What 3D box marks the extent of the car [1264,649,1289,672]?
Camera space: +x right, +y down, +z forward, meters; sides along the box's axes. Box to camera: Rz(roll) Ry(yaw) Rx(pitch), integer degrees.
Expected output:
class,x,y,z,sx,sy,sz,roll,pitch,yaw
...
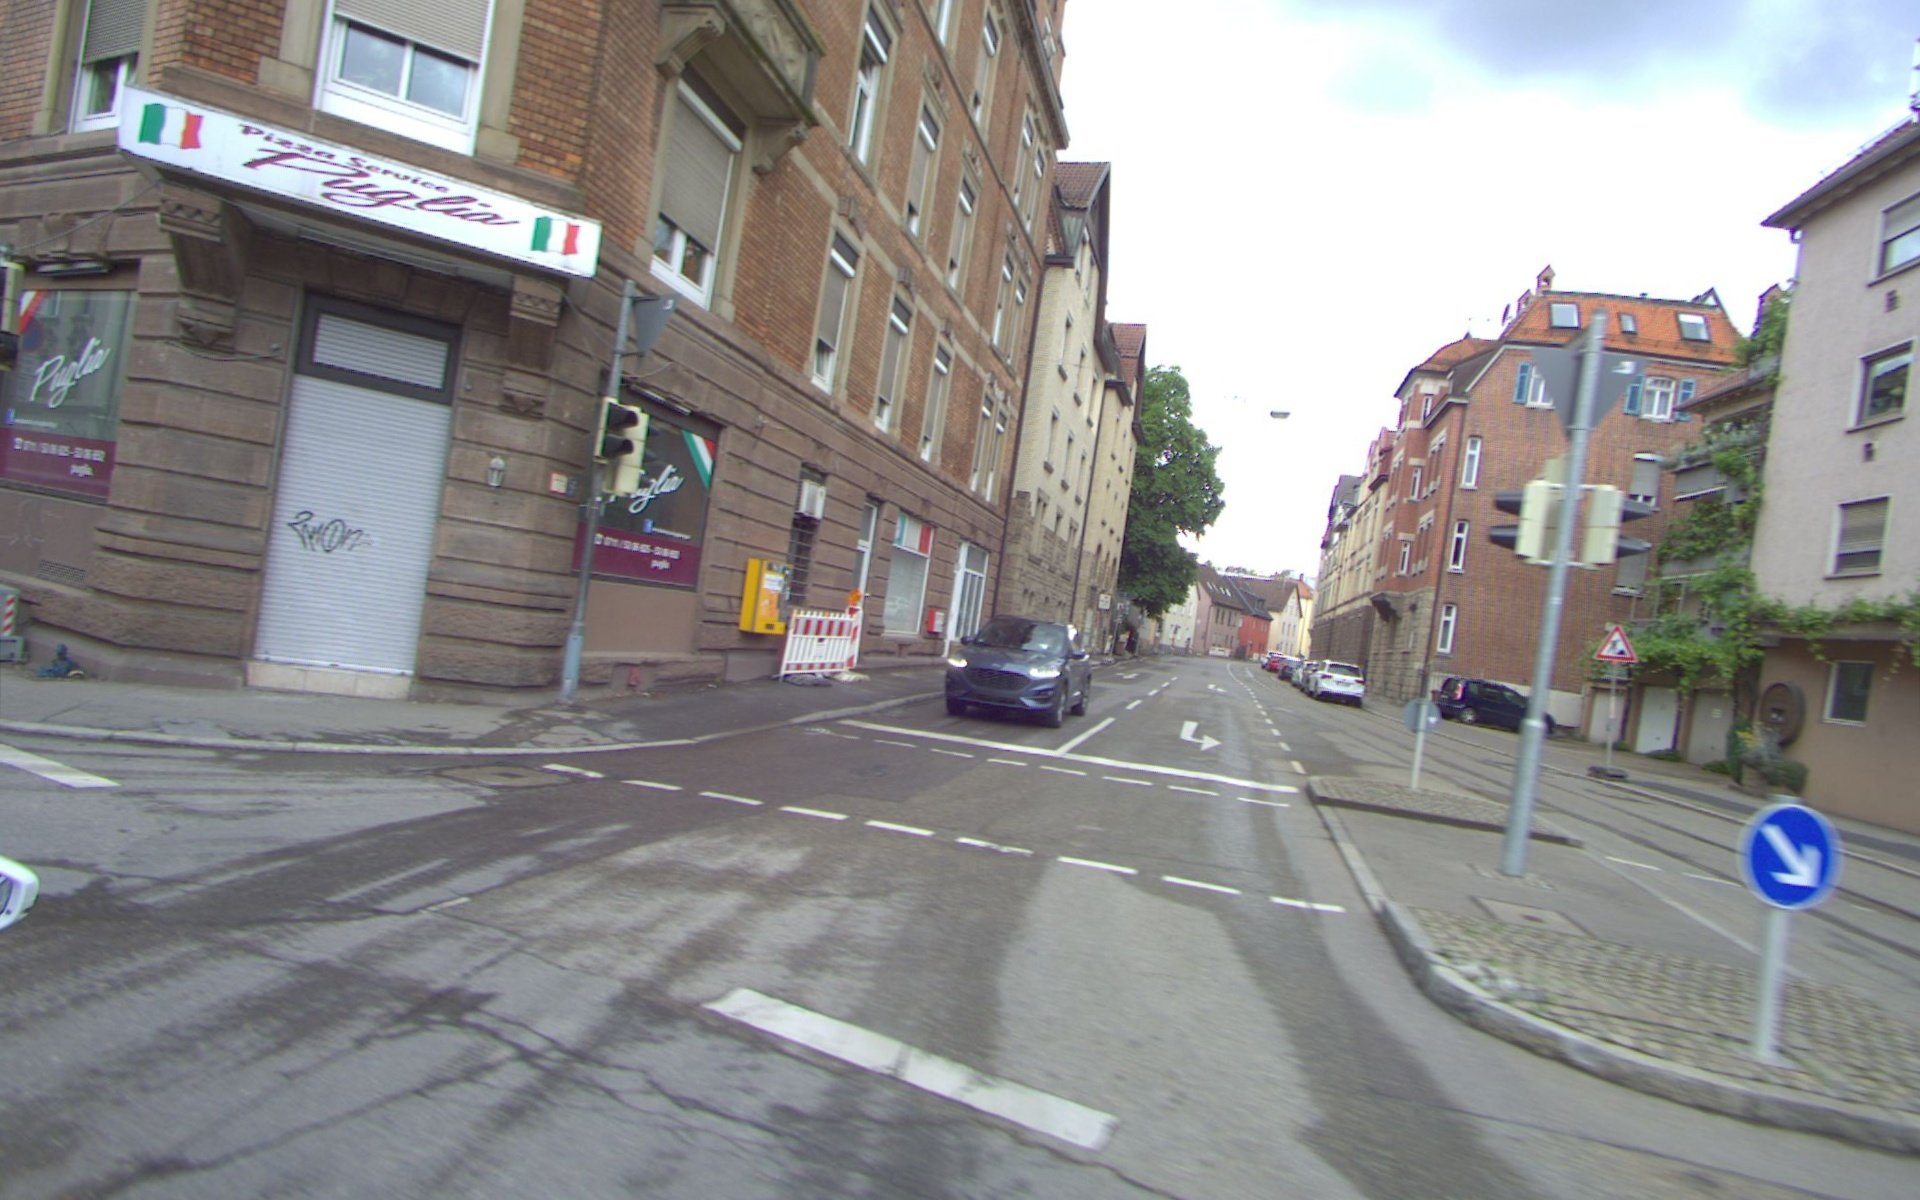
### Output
class,x,y,z,sx,sy,sz,roll,pitch,yaw
car,28.804,5.476,91.613,1.846,1.777,4.002,9,0,16

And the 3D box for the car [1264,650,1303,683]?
class,x,y,z,sx,sy,sz,roll,pitch,yaw
car,20.149,4.123,62.796,1.932,1.684,3.821,10,1,16

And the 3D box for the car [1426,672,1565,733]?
class,x,y,z,sx,sy,sz,roll,pitch,yaw
car,19.262,3.682,36.328,3.850,1.570,1.872,7,-1,3

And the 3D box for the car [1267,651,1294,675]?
class,x,y,z,sx,sy,sz,roll,pitch,yaw
car,25.910,5.080,81.408,1.877,1.664,3.953,9,0,17

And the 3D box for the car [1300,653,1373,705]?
class,x,y,z,sx,sy,sz,roll,pitch,yaw
car,15.222,3.164,40.897,1.918,1.739,4.004,7,-1,11

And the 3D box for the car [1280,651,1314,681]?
class,x,y,z,sx,sy,sz,roll,pitch,yaw
car,24.354,4.756,72.804,1.962,1.859,4.003,7,-1,16

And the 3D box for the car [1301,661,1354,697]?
class,x,y,z,sx,sy,sz,roll,pitch,yaw
car,16.721,3.548,45.881,1.962,1.303,4.002,7,-1,18

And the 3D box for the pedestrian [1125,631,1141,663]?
class,x,y,z,sx,sy,sz,roll,pitch,yaw
pedestrian,11.236,3.054,65.363,0.752,2.038,0.754,7,0,13

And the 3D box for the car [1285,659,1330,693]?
class,x,y,z,sx,sy,sz,roll,pitch,yaw
car,17.673,3.839,51.360,1.781,1.480,4.003,6,-1,16

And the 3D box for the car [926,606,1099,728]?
class,x,y,z,sx,sy,sz,roll,pitch,yaw
car,1.025,1.044,16.726,1.962,1.533,4.287,7,0,14
